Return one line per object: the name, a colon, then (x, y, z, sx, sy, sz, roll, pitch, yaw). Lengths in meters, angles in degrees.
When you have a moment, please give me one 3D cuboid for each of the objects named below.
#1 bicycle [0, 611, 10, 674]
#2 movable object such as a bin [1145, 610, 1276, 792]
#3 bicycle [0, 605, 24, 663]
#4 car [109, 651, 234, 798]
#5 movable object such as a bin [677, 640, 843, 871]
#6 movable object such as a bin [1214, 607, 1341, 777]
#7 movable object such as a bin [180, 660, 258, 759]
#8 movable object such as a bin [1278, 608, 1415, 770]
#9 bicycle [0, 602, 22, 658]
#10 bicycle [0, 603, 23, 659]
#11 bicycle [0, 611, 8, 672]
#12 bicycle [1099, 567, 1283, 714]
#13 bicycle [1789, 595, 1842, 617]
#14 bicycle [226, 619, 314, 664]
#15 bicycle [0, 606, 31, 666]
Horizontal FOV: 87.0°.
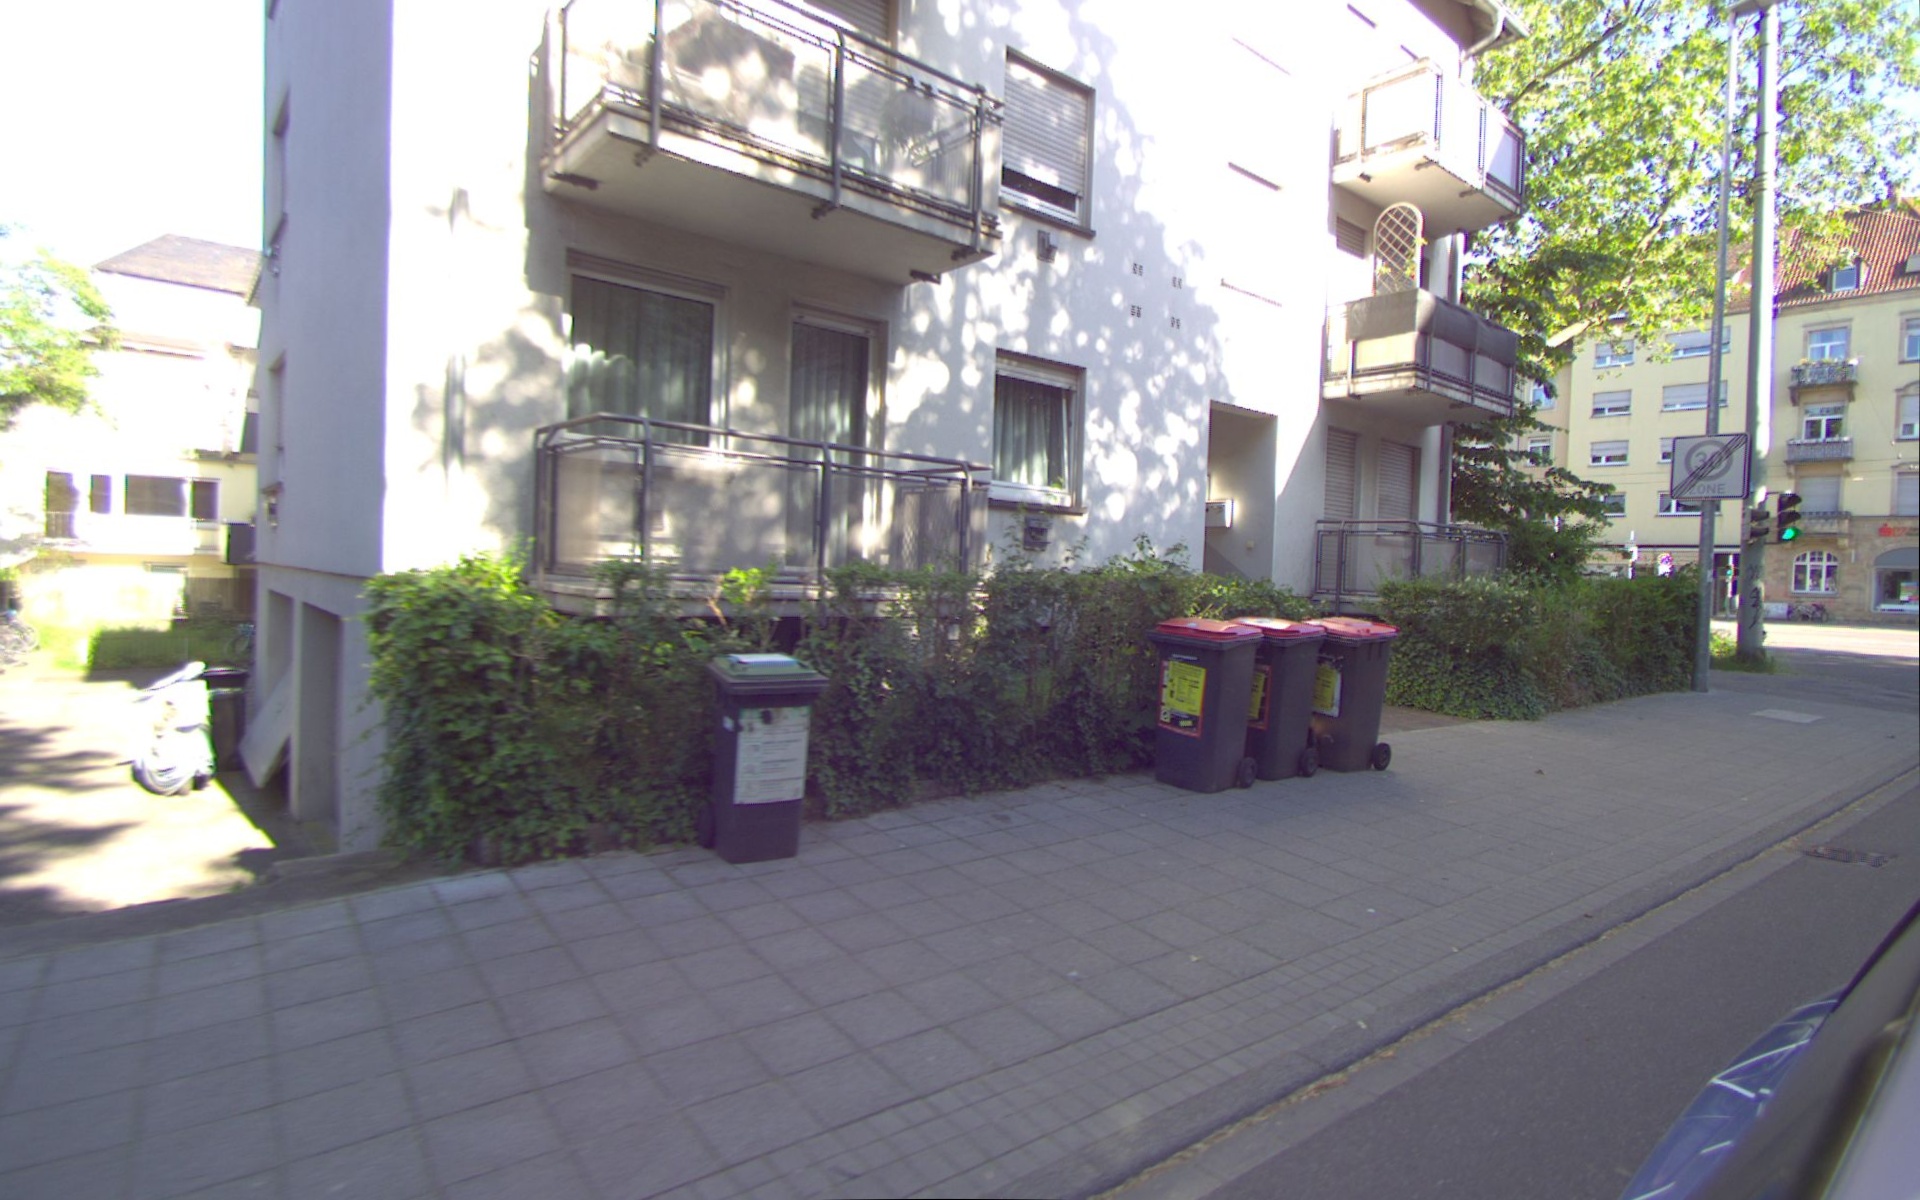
bicycle: (-19.338, 0.811, 19.026, 0.497, 1.211, 2.101, 0, -1, 41)
movable object such as a bin: (1.613, 0.618, 6.524, 0.607, 1.056, 0.485, 0, 5, -40)
bicycle: (-20.651, 0.698, 20.729, 0.497, 1.211, 2.101, 0, -1, 41)
car: (-8.753, 1.288, 11.176, 2.728, 1.316, 0.647, 0, -1, 43)
movable object such as a bin: (-0.938, 0.687, 4.714, 0.562, 0.926, 0.505, 1, 5, -35)
movable object such as a bin: (2.190, 0.607, 6.986, 0.645, 1.056, 0.485, 0, 5, -40)
movable object such as a bin: (-9.385, 1.363, 12.815, 0.655, 1.148, 0.661, 0, -1, 43)
movable object such as a bin: (2.841, 0.620, 7.449, 0.695, 1.056, 0.599, 0, 6, -40)
bicycle: (-21.738, 0.649, 21.869, 0.497, 1.211, 2.101, 0, -1, 41)
bicycle: (-21.246, 0.654, 21.356, 0.497, 1.211, 2.101, 0, -1, 41)
bicycle: (-19.775, 0.807, 19.453, 0.497, 1.211, 2.101, 0, -1, 41)
bicycle: (2.141, 0.352, 9.562, 1.553, 1.200, 0.643, 4, 3, 9)
bicycle: (42.962, 0.295, 50.819, 0.507, 0.987, 1.952, -2, 4, -38)
bicycle: (-15.876, 0.955, 23.303, 1.615, 0.994, 0.455, 1, -1, -39)
bicycle: (-20.161, 0.729, 20.373, 0.497, 1.211, 2.101, 0, -1, 41)
